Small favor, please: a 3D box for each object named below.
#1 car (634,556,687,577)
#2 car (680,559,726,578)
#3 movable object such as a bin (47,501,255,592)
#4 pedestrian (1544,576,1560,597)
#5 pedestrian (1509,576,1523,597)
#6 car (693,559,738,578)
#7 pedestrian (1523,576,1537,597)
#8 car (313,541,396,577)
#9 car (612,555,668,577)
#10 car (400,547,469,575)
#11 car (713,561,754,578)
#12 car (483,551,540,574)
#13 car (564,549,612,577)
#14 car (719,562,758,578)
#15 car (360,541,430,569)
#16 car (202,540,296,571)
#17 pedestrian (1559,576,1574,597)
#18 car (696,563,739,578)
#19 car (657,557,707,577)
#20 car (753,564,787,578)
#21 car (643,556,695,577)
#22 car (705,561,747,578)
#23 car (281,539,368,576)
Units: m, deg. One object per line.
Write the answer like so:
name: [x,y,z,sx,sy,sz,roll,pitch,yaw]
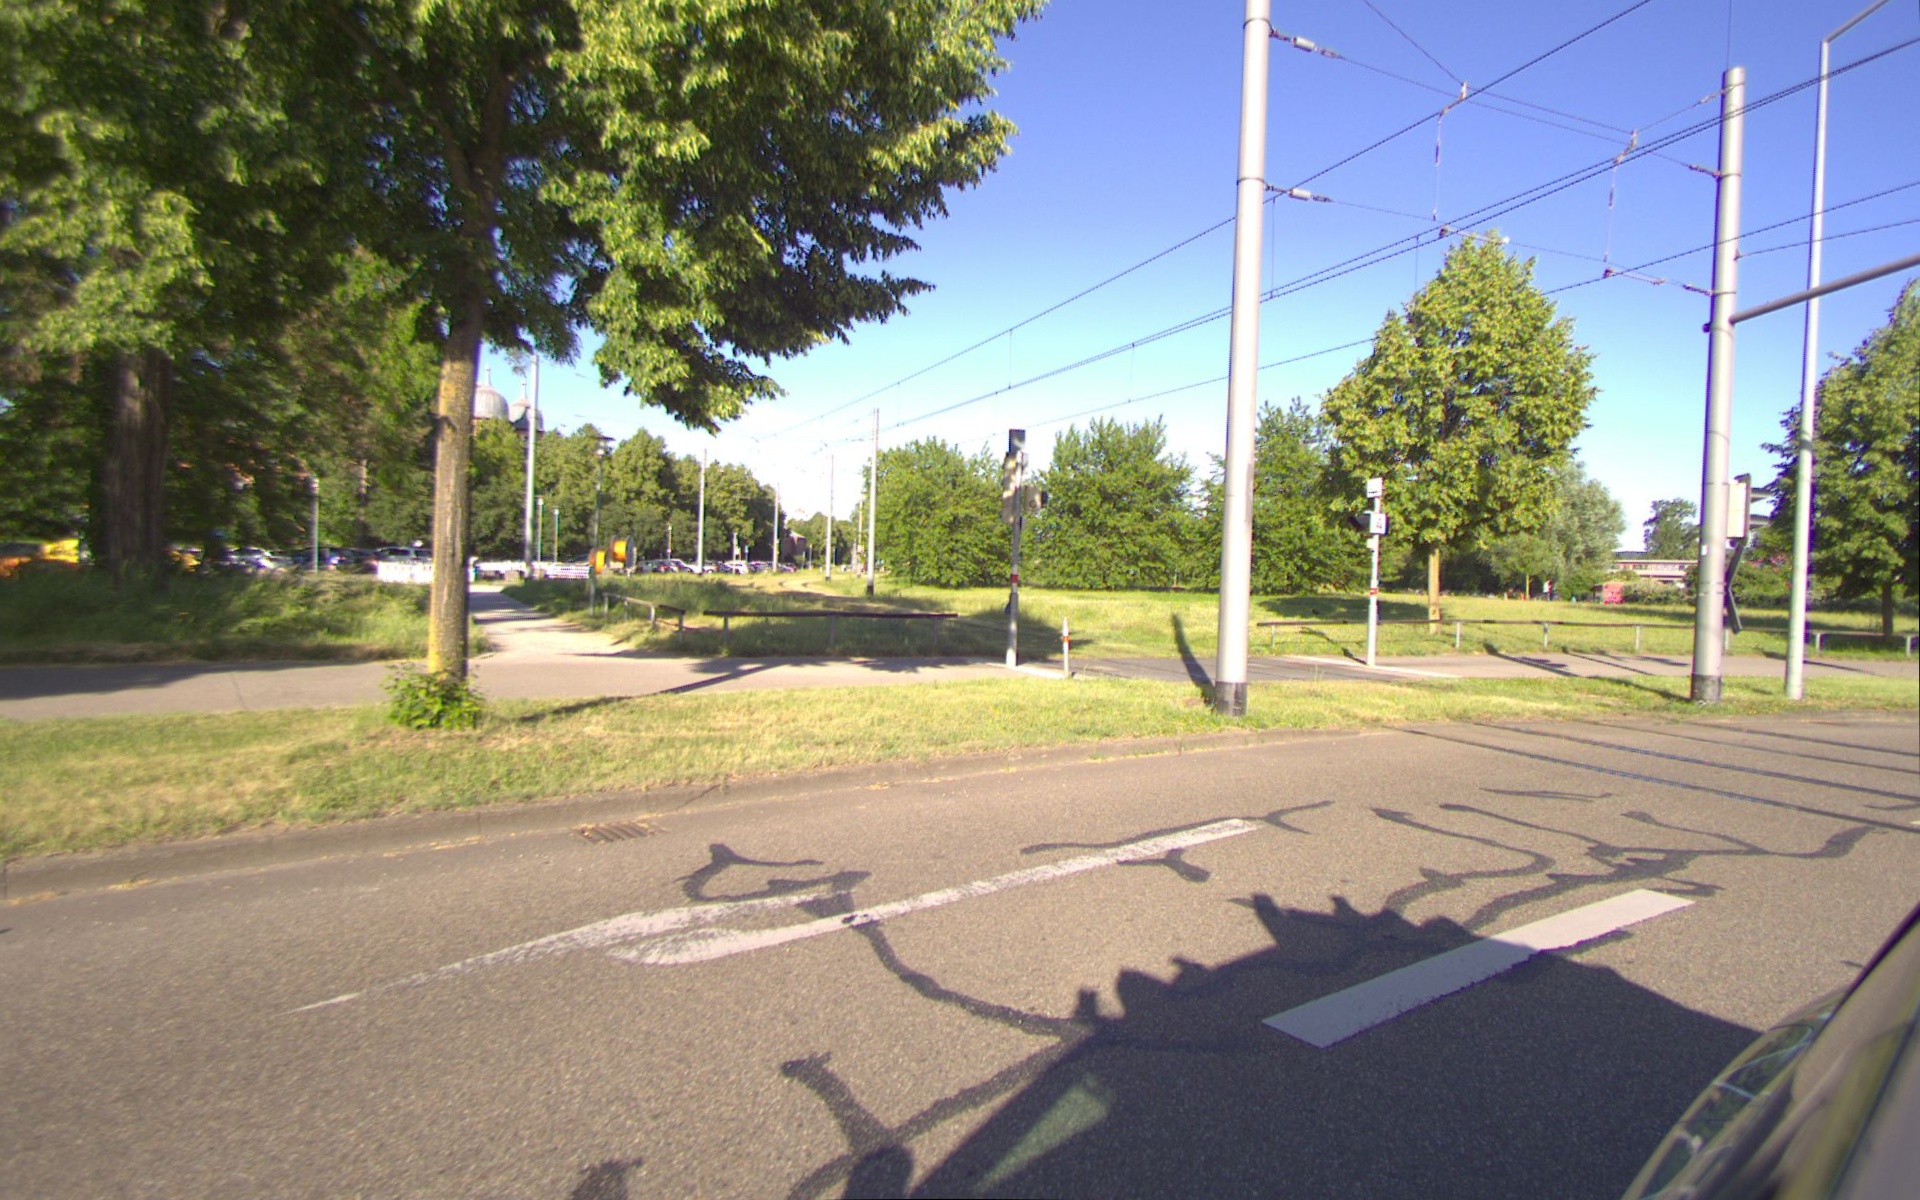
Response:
car: [-25.256,-2.818,85.500,3.925,1.778,1.914,0,1,1]
car: [-24.731,-3.048,97.358,3.925,1.778,1.914,0,1,1]
movable object such as a bin: [-26.137,-1.699,32.872,4.944,2.823,2.003,0,1,-9]
pedestrian: [42.656,-0.969,72.942,0.781,1.458,0.772,0,2,-43]
pedestrian: [40.973,-0.996,74.569,0.781,1.458,0.686,0,2,-43]
car: [-24.149,-3.100,99.950,3.925,1.778,1.914,0,1,1]
pedestrian: [41.386,-0.976,73.480,0.781,1.458,0.686,0,2,-43]
car: [-37.305,-2.513,62.386,3.925,2.126,2.000,0,1,1]
car: [-25.858,-2.746,81.871,3.925,1.778,2.000,0,1,1]
car: [-37.461,-2.781,72.165,3.925,1.983,2.000,0,1,1]
car: [-24.561,-3.291,109.853,3.925,1.778,1.914,0,1,1]
car: [-37.228,-3.097,84.072,3.925,1.920,2.000,0,1,1]
car: [-36.456,-3.618,99.285,3.925,2.686,2.000,0,1,1]
car: [-24.533,-3.338,112.282,3.925,1.778,1.914,0,1,1]
car: [-37.380,-2.980,67.023,3.779,1.801,1.692,0,1,5]
car: [-37.703,-2.336,53.719,3.737,1.575,1.832,0,1,3]
pedestrian: [43.073,-0.950,71.867,0.781,1.458,0.660,0,2,-43]
car: [-24.501,-3.007,102.359,3.925,1.501,1.914,0,1,1]
car: [-24.812,-2.916,90.514,3.925,1.778,1.914,0,1,1]
car: [-23.870,-3.631,127.358,3.925,1.778,1.914,0,1,1]
car: [-25.270,-2.866,88.016,3.925,1.778,1.914,0,1,1]
car: [-24.617,-3.224,106.421,3.925,1.778,1.914,0,1,1]
car: [-37.291,-2.456,59.444,3.925,2.126,2.000,0,1,1]
